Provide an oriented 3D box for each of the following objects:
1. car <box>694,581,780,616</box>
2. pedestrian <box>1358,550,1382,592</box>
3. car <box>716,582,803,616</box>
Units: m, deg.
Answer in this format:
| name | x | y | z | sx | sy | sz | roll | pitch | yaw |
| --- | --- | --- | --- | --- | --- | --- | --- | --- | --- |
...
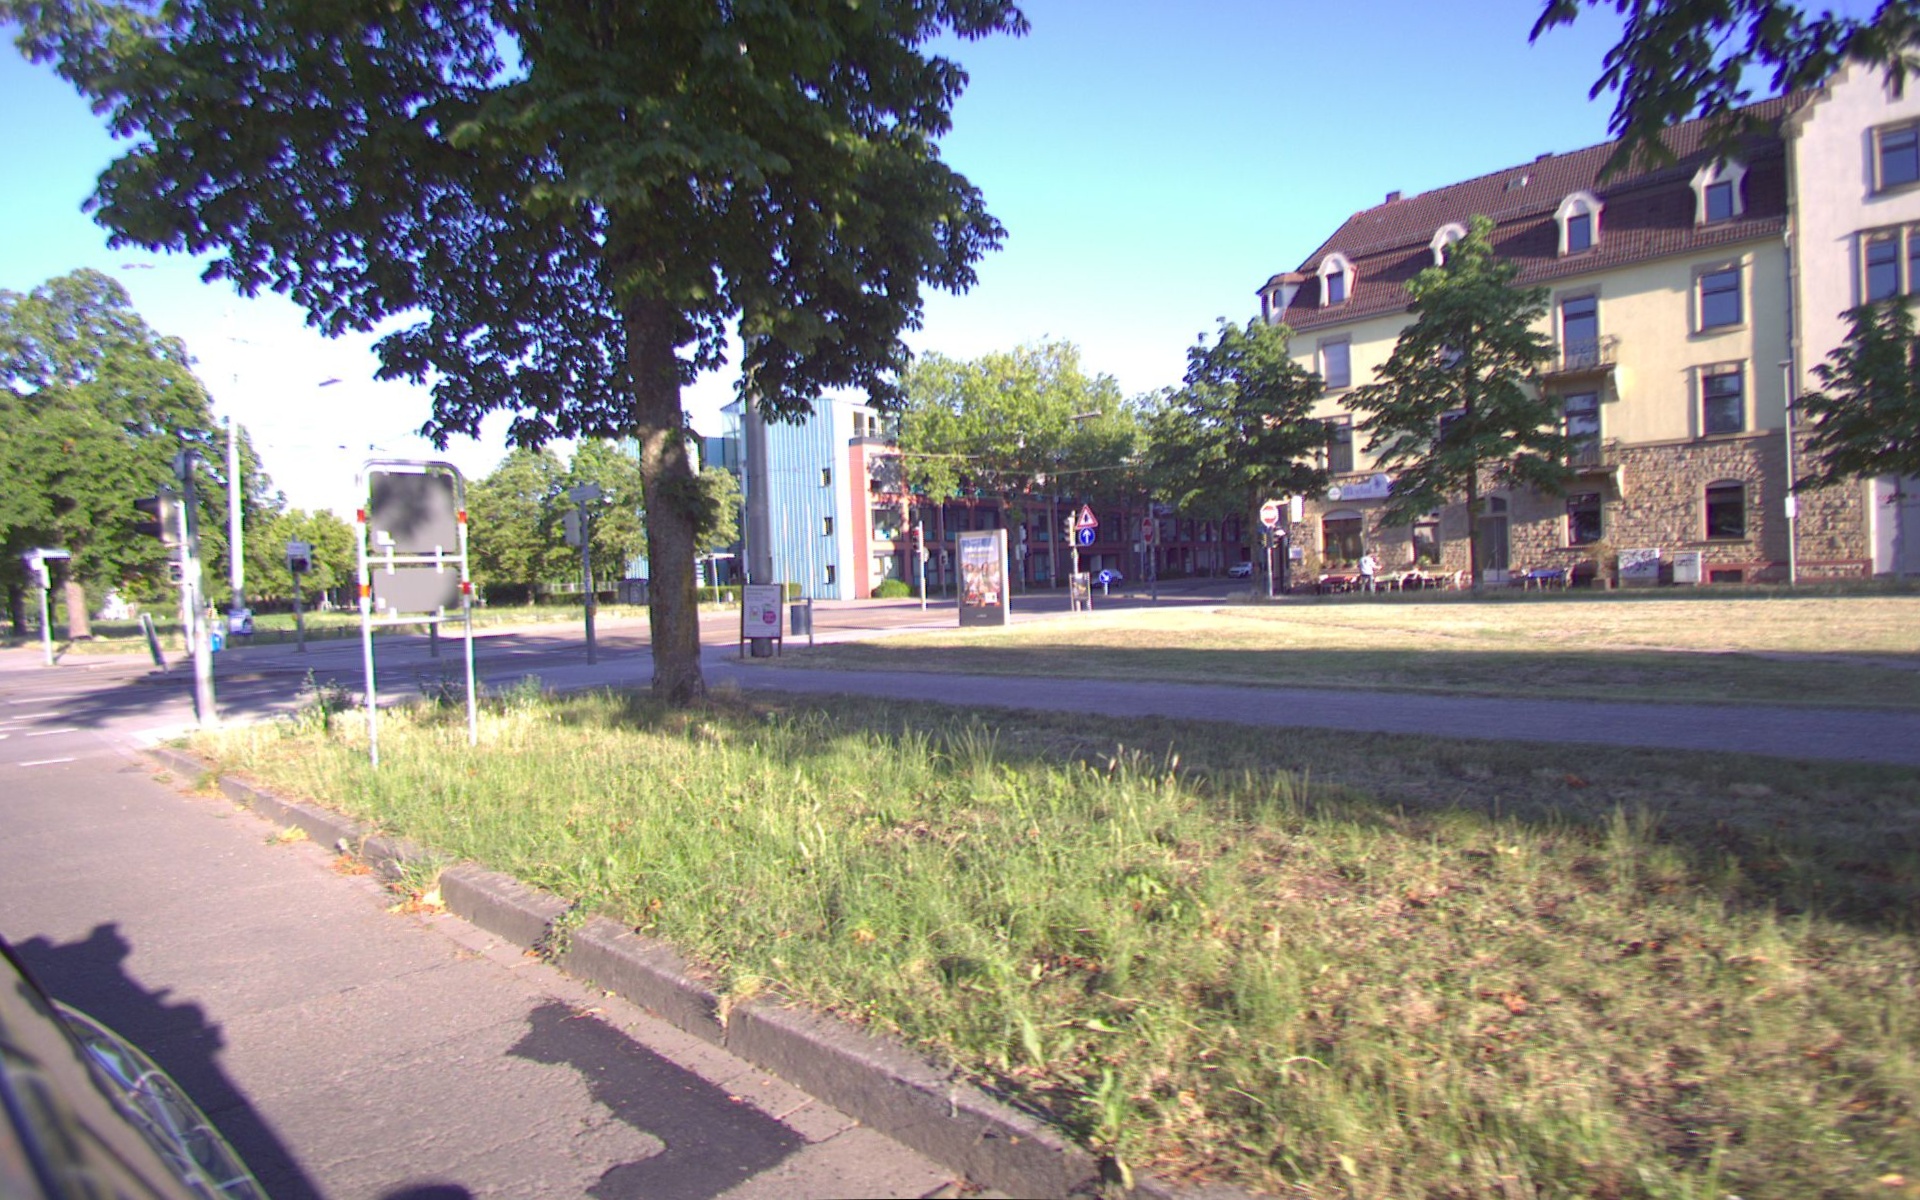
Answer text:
| name | x | y | z | sx | sy | sz | roll | pitch | yaw |
| --- | --- | --- | --- | --- | --- | --- | --- | --- | --- |
| car | -14.102 | -0.139 | 64.294 | 1.966 | 1.683 | 5.158 | -1 | 5 | 39 |
| pedestrian | 16.431 | -1.150 | 40.556 | 0.682 | 1.636 | 0.610 | -1 | 4 | 40 |
| car | -12.344 | -0.082 | 62.681 | 1.998 | 1.683 | 5.156 | -1 | 3 | 39 |
